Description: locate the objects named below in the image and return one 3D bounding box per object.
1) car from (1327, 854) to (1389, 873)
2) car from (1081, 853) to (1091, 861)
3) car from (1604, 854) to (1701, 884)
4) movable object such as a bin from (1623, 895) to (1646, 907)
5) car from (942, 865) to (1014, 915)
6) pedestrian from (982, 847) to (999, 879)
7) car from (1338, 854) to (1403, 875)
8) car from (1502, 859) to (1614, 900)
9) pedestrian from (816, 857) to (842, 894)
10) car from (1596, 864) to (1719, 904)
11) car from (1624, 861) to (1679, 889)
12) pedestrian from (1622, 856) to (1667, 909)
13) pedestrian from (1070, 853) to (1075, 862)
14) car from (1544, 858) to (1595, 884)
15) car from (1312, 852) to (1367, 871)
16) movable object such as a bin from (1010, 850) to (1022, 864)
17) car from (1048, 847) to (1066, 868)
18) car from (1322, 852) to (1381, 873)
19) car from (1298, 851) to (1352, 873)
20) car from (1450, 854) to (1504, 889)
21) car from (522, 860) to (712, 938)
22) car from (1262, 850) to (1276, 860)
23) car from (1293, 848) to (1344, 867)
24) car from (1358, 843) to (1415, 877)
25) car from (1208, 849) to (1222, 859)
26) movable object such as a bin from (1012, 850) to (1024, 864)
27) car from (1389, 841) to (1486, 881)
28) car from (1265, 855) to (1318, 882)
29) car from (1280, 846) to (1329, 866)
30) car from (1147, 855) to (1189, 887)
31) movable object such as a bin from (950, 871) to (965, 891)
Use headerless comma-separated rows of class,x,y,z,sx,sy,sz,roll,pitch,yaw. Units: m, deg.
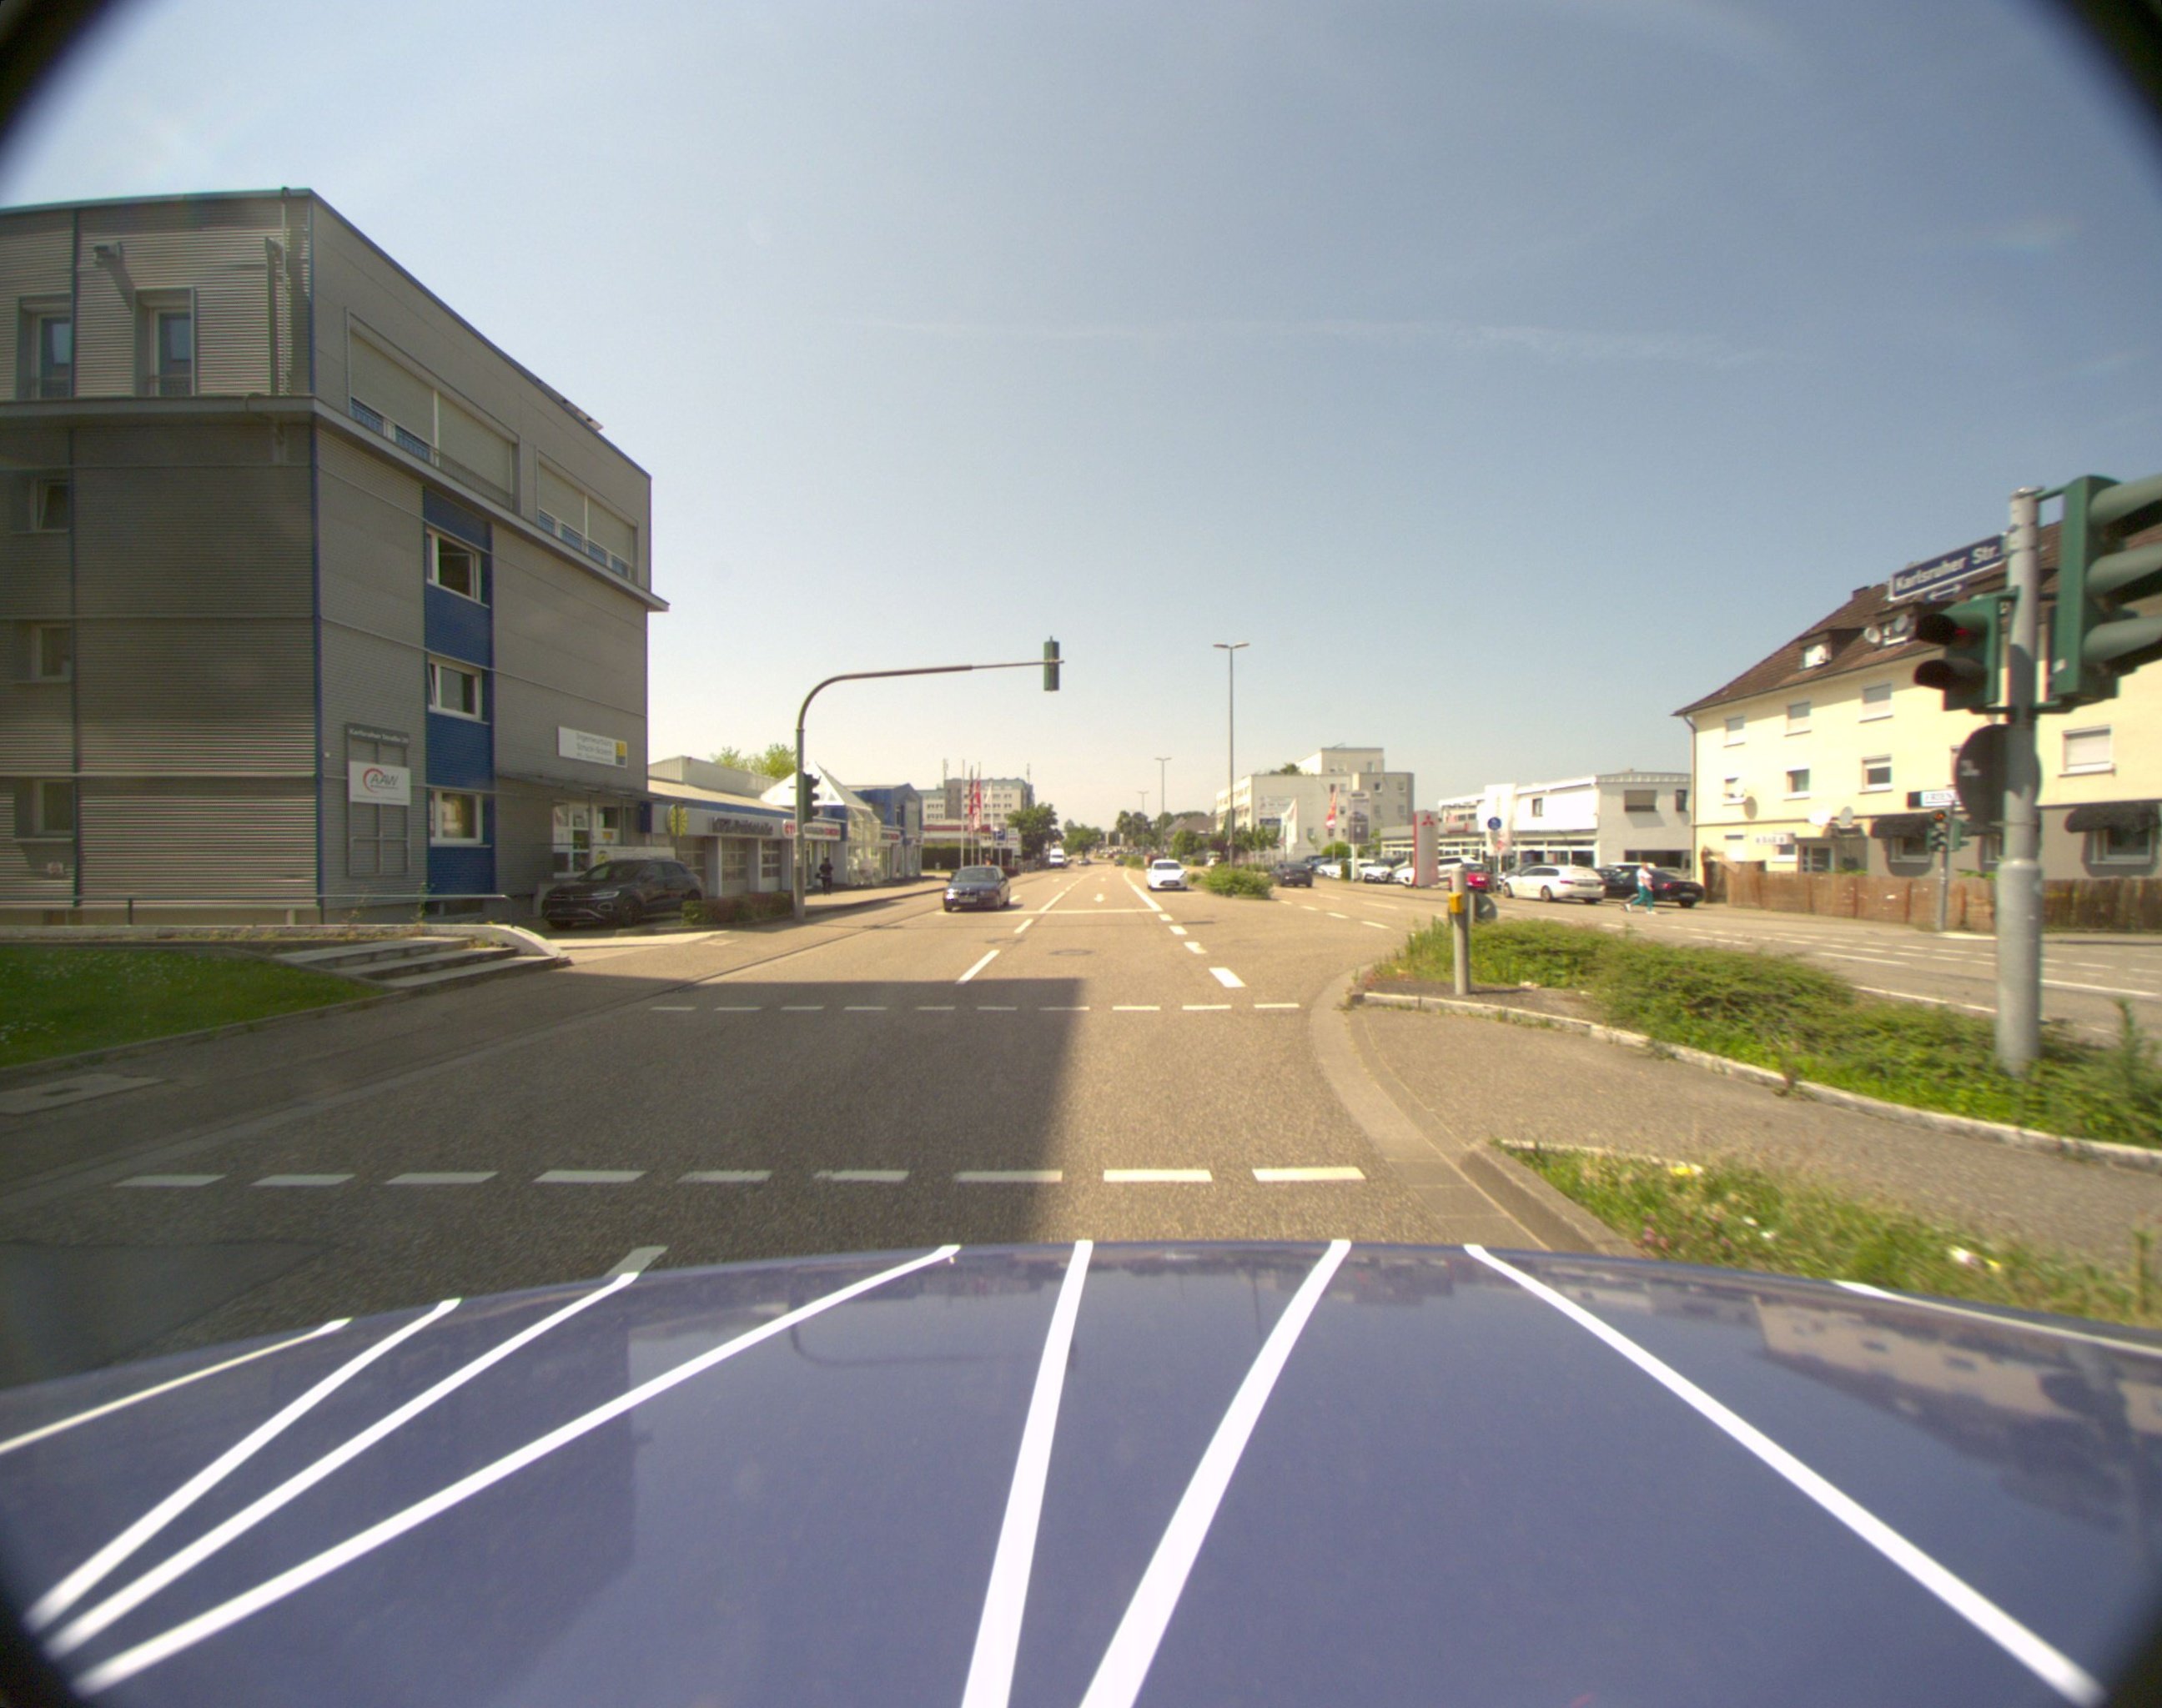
car,20.819,0.732,57.223,3.997,1.386,1.860,0,1,1
car,0.991,0.585,152.977,1.867,1.550,4.000,0,0,1
car,32.142,0.832,42.819,3.996,1.606,1.865,0,1,2
movable object such as a bin,18.696,1.600,25.663,0.417,0.370,0.506,0,1,3
car,-3.182,1.080,24.071,1.632,1.331,3.757,-2,0,2
pedestrian,-5.199,0.509,43.726,0.787,1.836,0.936,0,1,4
car,20.716,0.756,54.463,3.997,1.458,1.760,0,1,1
car,19.135,0.968,30.792,1.780,1.402,4.760,1,1,4
pedestrian,-11.000,0.930,33.160,0.812,1.617,0.853,0,0,5
car,22.364,1.120,29.701,1.737,1.343,3.999,0,1,-1
car,29.161,1.044,38.942,1.646,1.244,4.007,1,1,28
pedestrian,18.780,0.939,25.345,0.742,1.737,1.034,0,1,4
pedestrian,-1.478,0.627,130.821,0.704,1.572,0.820,3,1,-2
car,26.565,0.903,41.424,1.646,1.244,4.006,1,1,23
car,21.310,0.598,62.708,3.997,1.559,1.760,0,0,1
movable object such as a bin,-6.838,0.329,80.091,1.133,1.461,1.489,0,1,3
car,-3.401,0.452,108.867,2.182,2.758,7.277,2,1,1
car,21.318,0.648,60.061,3.995,1.599,1.926,0,1,4
car,21.117,0.684,65.837,3.997,1.599,1.760,3,1,1
car,20.584,0.863,39.401,1.834,1.633,4.187,1,1,37
car,-10.954,0.987,18.354,1.848,1.522,4.197,-2,1,2
car,27.191,0.143,109.838,1.456,1.332,2.833,0,1,4
car,21.468,0.297,68.835,3.997,1.599,2.089,1,1,1
car,20.901,0.377,51.968,4.003,1.616,1.755,-13,9,-38
car,21.730,0.009,123.002,1.695,1.440,3.665,-1,1,1
movable object such as a bin,-6.740,0.311,81.709,1.133,1.461,1.489,0,1,3
car,20.459,0.395,43.693,4.557,1.700,1.760,-8,1,2
car,12.458,0.826,45.276,1.998,1.477,4.501,0,1,2
car,21.053,0.166,71.638,3.997,1.871,2.000,0,1,1
car,4.105,0.787,36.320,1.692,1.426,3.711,0,1,2
movable object such as a bin,-5.964,1.294,36.645,0.552,0.914,0.653,3,1,3
